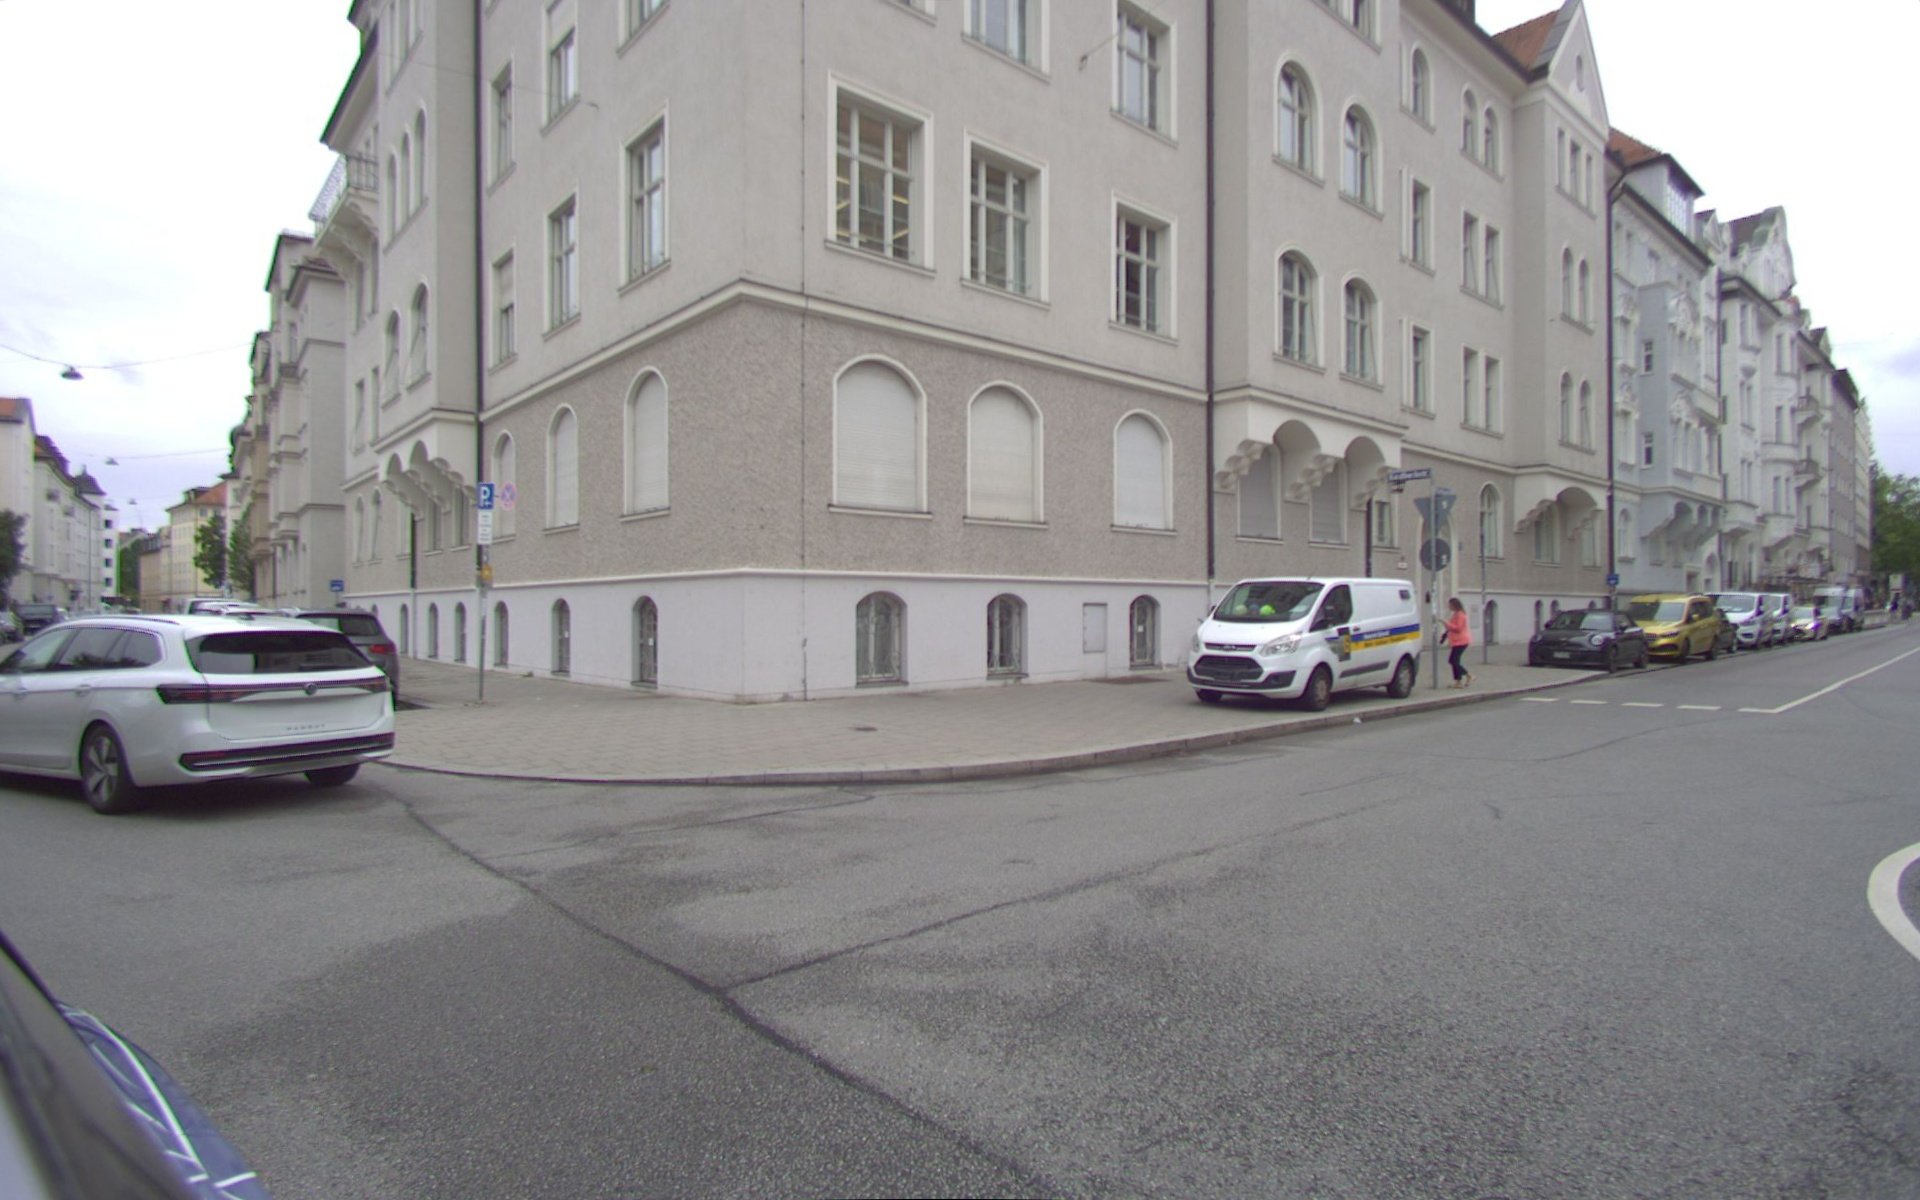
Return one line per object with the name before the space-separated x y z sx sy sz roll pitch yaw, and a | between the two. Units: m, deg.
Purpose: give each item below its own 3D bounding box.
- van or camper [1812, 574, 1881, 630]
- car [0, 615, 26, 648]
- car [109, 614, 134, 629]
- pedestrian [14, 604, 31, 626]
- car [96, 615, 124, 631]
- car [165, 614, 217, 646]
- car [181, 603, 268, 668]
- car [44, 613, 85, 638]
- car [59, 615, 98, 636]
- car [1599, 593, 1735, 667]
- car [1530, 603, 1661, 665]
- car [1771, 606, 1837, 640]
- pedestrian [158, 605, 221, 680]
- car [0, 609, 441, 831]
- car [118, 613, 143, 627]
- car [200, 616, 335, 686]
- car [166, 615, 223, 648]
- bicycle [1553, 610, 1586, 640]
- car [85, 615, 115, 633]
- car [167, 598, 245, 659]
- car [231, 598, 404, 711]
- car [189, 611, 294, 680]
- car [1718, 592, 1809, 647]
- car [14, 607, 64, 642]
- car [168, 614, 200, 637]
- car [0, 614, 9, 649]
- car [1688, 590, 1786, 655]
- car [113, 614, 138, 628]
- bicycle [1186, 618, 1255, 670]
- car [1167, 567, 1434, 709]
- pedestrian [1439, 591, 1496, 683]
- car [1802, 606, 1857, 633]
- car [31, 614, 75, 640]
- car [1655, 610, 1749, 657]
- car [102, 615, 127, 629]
van or camper | 49.299 0.088 56.237 6.337 2.935 2.003 -1 0 -41
car | -44.952 1.431 47.244 1.691 1.464 4.964 1 -1 -40
car | -102.494 2.621 123.721 1.967 1.695 4.309 -4 1 -35
pedestrian | -72.882 1.181 78.657 0.862 1.703 1.054 0 -1 -39
car | -93.840 2.501 111.745 1.968 1.606 4.308 -4 1 -36
car | -37.873 1.461 49.805 1.832 1.474 4.386 2 -2 -40
car | -22.261 1.036 30.553 1.725 1.802 5.044 2 -2 -40
car | -64.998 1.835 73.504 1.969 1.606 4.306 -4 1 -39
car | -72.420 2.092 83.230 1.968 1.606 4.308 -4 1 -36
car | 19.182 0.775 27.420 4.070 1.852 2.030 1 -1 -40
car | 15.092 0.767 23.985 3.623 1.356 1.699 1 -1 -42
car | 35.741 0.950 42.849 3.485 1.356 1.699 1 -1 -43
pedestrian | -18.699 1.012 24.592 0.862 1.769 0.966 0 -1 -9
car | -6.907 0.830 8.621 4.863 1.459 1.874 -1 -1 25
car | -108.363 2.608 132.246 1.967 1.606 4.310 -4 1 -33
car | -15.458 1.081 22.548 3.662 1.425 1.673 -1 -2 42
car | -34.703 1.410 45.852 1.832 1.423 4.386 3 -2 -40
bicycle | 21.785 0.875 36.149 1.802 1.057 0.492 0 -1 -41
car | -87.511 2.427 103.047 1.968 1.606 4.308 -4 1 -36
car | -26.298 0.966 35.224 1.833 1.953 4.965 2 -2 -40
car | -10.736 0.831 16.759 1.725 1.614 4.503 2 -2 -41
car | -18.567 1.112 26.061 1.725 1.614 4.503 2 -2 -41
car | 31.292 0.749 39.366 4.749 2.009 2.127 1 -1 -43
car | -55.837 1.490 61.411 1.969 1.975 4.440 -4 1 -40
car | -50.767 1.660 66.255 1.601 1.440 3.950 2 -2 -36
car | -42.148 1.333 43.392 1.691 1.464 4.191 1 -1 -40
car | 27.013 0.754 35.122 2.126 2.108 4.752 -1 -1 45
car | -105.654 2.691 128.162 1.967 1.606 4.438 -4 1 -35
bicycle | 5.581 0.913 21.653 1.802 1.057 0.492 0 -1 -41
car | 5.455 0.525 15.857 4.837 1.895 1.927 0 -1 -44
pedestrian | 9.270 0.668 18.527 0.850 1.648 0.728 -1 -1 22
car | 44.587 0.984 51.874 3.484 1.356 1.699 1 -1 -42
car | -62.159 1.845 69.415 1.969 1.665 4.456 -4 1 -40
car | 22.720 1.000 30.960 3.485 1.356 1.699 1 -1 -43
car | -99.695 2.593 119.377 1.968 1.606 4.308 -4 1 -36
